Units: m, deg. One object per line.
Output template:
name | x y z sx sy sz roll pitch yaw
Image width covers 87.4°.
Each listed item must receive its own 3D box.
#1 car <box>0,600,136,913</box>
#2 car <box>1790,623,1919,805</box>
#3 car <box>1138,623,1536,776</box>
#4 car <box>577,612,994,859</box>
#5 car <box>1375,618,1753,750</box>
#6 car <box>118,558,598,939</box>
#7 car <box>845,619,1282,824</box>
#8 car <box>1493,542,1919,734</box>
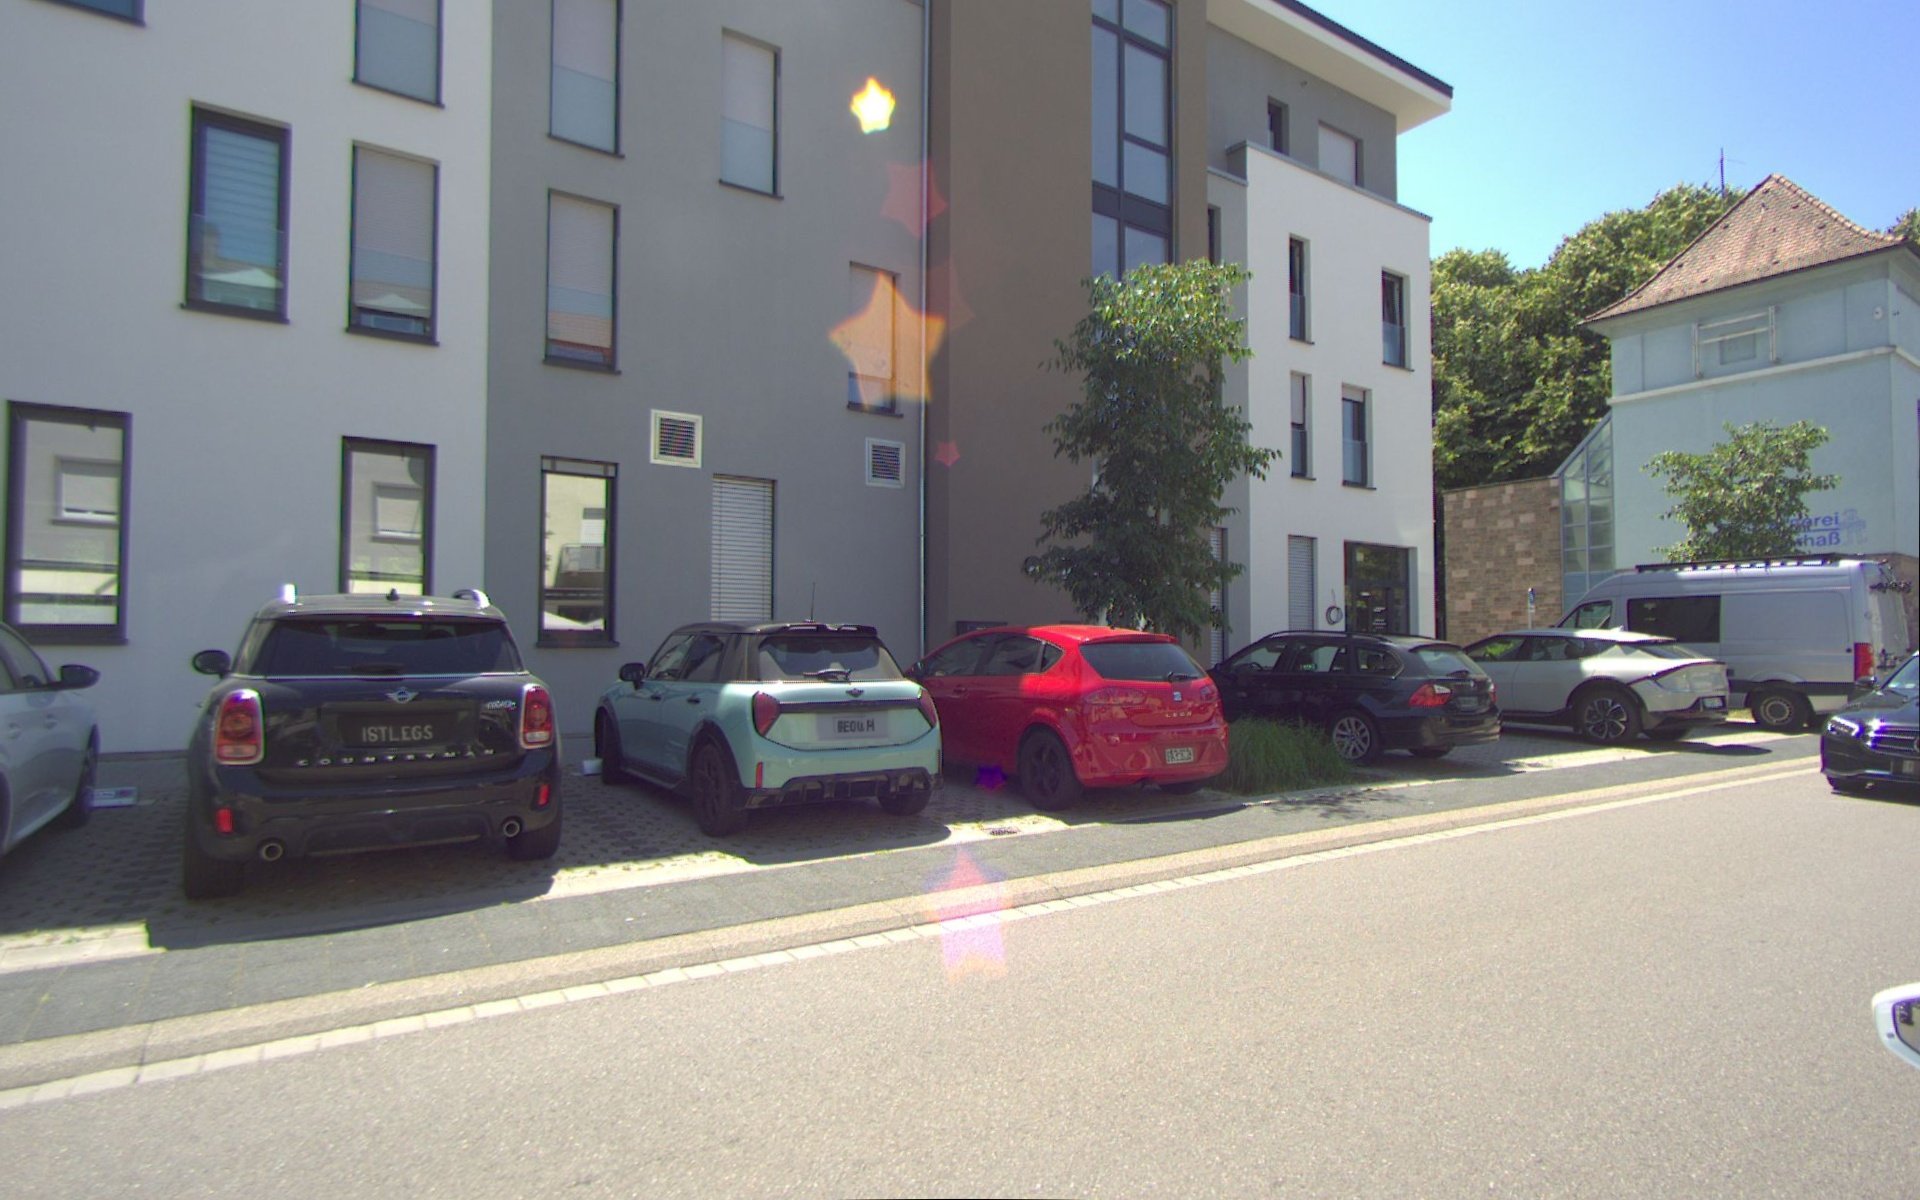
car | -5.954 0.700 5.340 1.889 1.440 3.965 2 -2 -32
car | 10.465 1.036 10.155 4.747 1.574 1.883 0 -1 -33
car | 4.349 1.053 12.157 1.869 1.456 4.169 2 -2 -37
car | -1.690 0.883 8.418 1.979 1.516 4.008 2 -2 -34
car | 8.730 1.108 14.926 1.979 1.612 4.428 2 -2 -33
car | -3.840 0.702 6.662 1.977 1.673 4.012 2 -2 -31
car | 0.744 0.935 9.469 1.980 1.449 4.007 2 -2 -34
car | 12.756 0.608 17.565 2.266 2.768 5.736 2 -1 -32
